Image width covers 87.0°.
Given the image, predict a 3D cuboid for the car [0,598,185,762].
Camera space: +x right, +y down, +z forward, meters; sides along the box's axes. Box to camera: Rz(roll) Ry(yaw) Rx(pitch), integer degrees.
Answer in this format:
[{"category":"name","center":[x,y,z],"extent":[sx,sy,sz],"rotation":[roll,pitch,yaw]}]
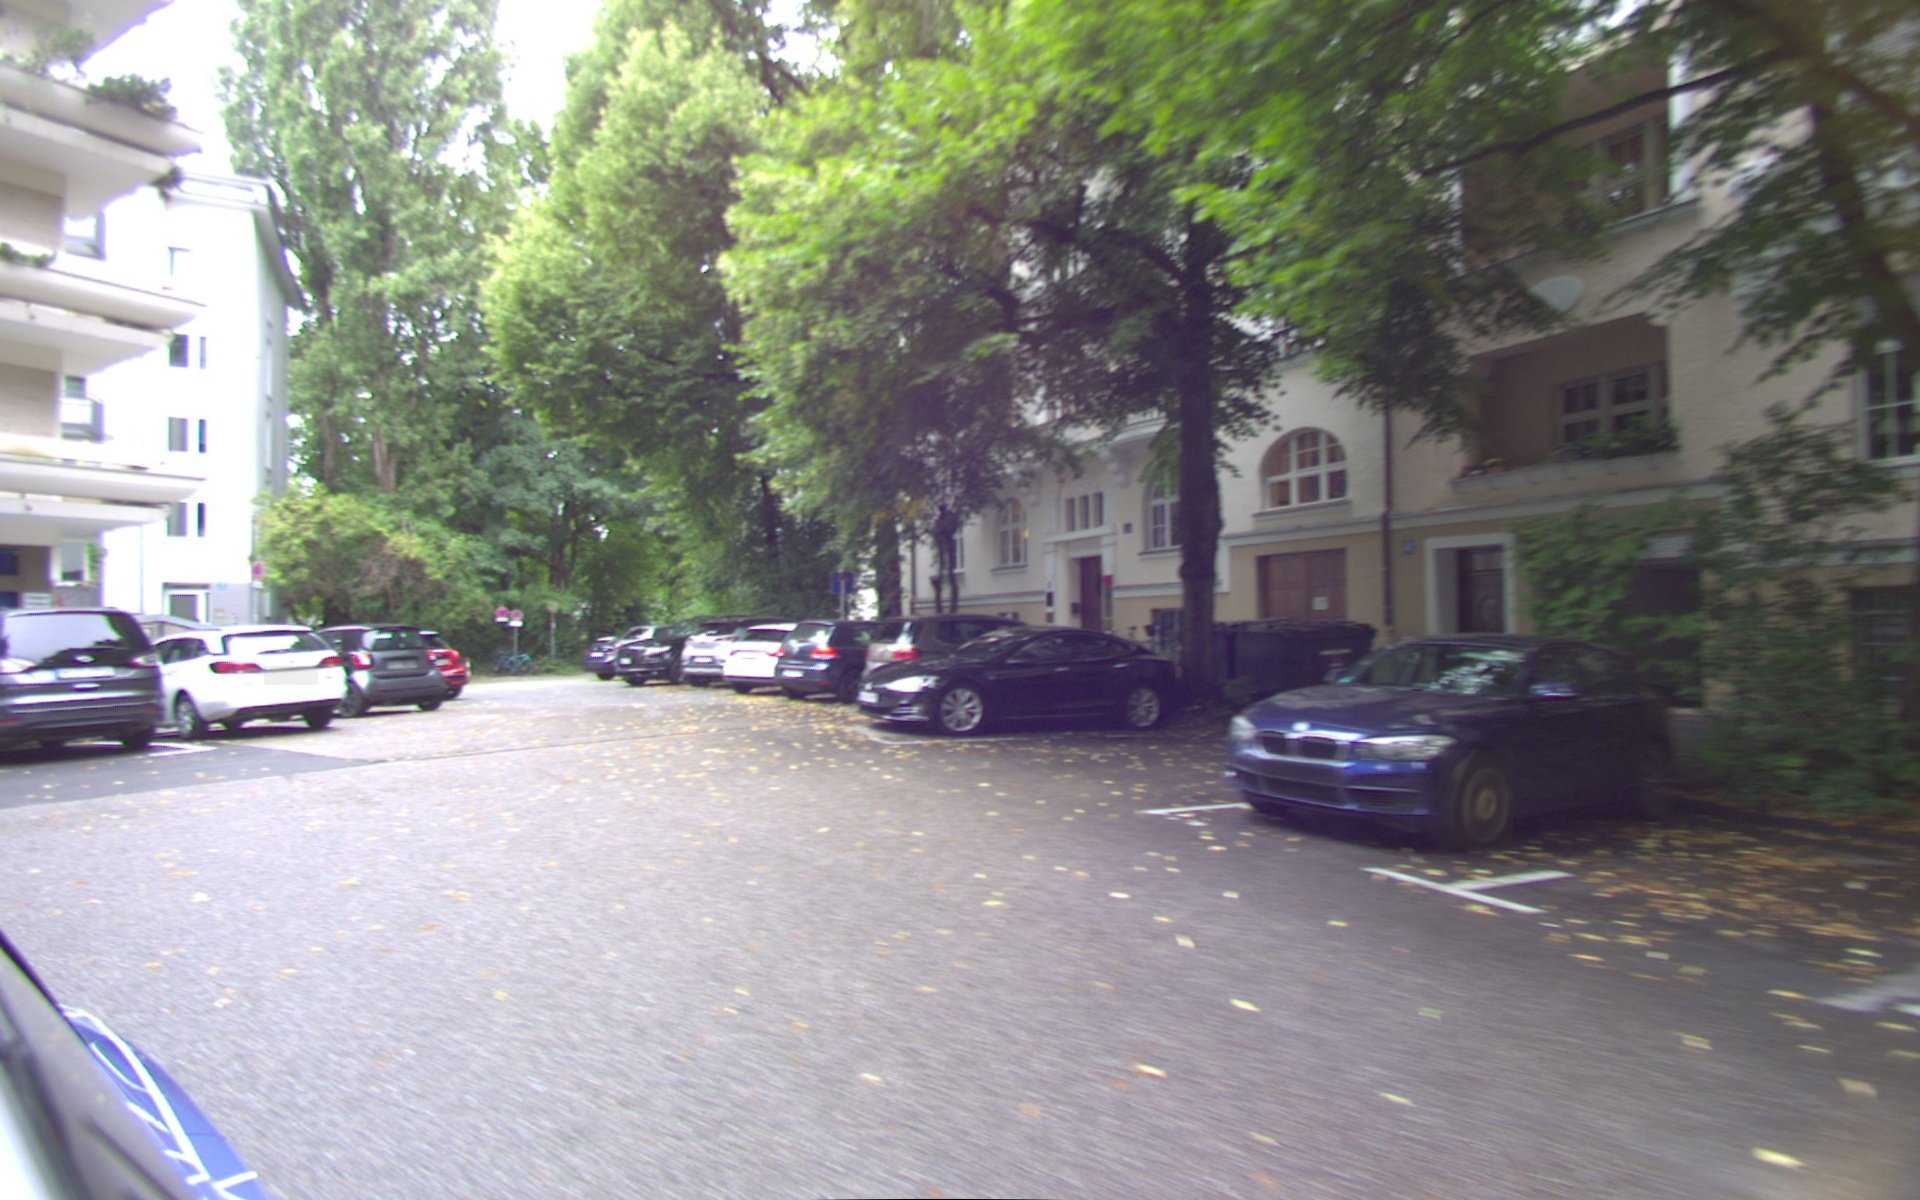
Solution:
[{"category":"car","center":[-11.459,0.967,12.227],"extent":[4.217,1.697,1.883],"rotation":[-4,-3,30]}]

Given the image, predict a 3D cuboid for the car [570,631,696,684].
[{"category":"car","center":[-10.343,1.779,32.307],"extent":[1.712,1.489,3.970],"rotation":[-1,-1,22]}]

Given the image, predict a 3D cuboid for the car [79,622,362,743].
[{"category":"car","center":[-10.506,1.176,14.324],"extent":[3.984,1.490,1.817],"rotation":[-5,-3,30]}]

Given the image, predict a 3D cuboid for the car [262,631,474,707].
[{"category":"car","center":[-12.123,1.354,20.724],"extent":[3.974,1.409,1.743],"rotation":[-1,-1,23]}]

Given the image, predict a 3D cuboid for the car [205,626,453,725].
[{"category":"car","center":[-11.008,1.314,17.636],"extent":[3.977,1.490,1.820],"rotation":[-4,-3,25]}]

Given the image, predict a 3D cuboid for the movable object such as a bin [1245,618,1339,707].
[{"category":"movable object such as a bin","center":[5.363,0.980,16.350],"extent":[1.350,1.358,0.717],"rotation":[0,-1,-31]}]

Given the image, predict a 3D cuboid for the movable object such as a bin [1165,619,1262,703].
[{"category":"movable object such as a bin","center":[4.403,1.030,17.602],"extent":[1.137,1.359,1.157],"rotation":[-1,0,-33]}]

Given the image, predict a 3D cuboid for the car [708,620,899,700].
[{"category":"car","center":[-3.129,1.161,20.977],"extent":[1.719,1.442,3.954],"rotation":[-1,-1,34]}]

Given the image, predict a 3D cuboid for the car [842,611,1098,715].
[{"category":"car","center":[0.211,0.965,16.909],"extent":[3.958,1.542,1.849],"rotation":[0,-1,-36]}]

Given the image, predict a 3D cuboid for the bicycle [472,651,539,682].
[{"category":"bicycle","center":[-18.219,2.657,40.591],"extent":[2.427,1.126,0.828],"rotation":[0,-1,-27]}]

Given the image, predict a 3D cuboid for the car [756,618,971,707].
[{"category":"car","center":[-1.697,1.077,18.936],"extent":[1.795,1.442,3.948],"rotation":[-1,-1,38]}]

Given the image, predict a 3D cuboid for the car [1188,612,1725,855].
[{"category":"car","center":[3.938,0.837,7.793],"extent":[4.270,1.394,1.849],"rotation":[2,-2,-35]}]

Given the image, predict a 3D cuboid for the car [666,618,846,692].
[{"category":"car","center":[-4.615,1.205,23.402],"extent":[1.870,1.521,3.954],"rotation":[-1,-1,34]}]

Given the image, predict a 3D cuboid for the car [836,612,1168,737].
[{"category":"car","center":[0.618,0.982,13.862],"extent":[4.214,1.478,1.715],"rotation":[2,-1,-28]}]

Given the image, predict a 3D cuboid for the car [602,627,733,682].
[{"category":"car","center":[-8.689,1.569,30.361],"extent":[1.712,1.489,3.970],"rotation":[-1,-1,22]}]

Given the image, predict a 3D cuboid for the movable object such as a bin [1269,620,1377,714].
[{"category":"movable object such as a bin","center":[5.514,0.989,15.373],"extent":[1.408,1.315,0.868],"rotation":[0,1,-33]}]

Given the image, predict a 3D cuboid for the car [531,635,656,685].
[{"category":"car","center":[-12.070,1.938,33.601],"extent":[1.712,1.489,3.970],"rotation":[-1,-1,22]}]

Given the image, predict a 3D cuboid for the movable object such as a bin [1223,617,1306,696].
[{"category":"movable object such as a bin","center":[5.477,0.989,18.241],"extent":[0.850,1.359,1.124],"rotation":[-1,0,-33]}]

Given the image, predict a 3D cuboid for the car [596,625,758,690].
[{"category":"car","center":[-6.845,1.347,24.890],"extent":[2.045,1.412,3.978],"rotation":[-1,-1,17]}]
